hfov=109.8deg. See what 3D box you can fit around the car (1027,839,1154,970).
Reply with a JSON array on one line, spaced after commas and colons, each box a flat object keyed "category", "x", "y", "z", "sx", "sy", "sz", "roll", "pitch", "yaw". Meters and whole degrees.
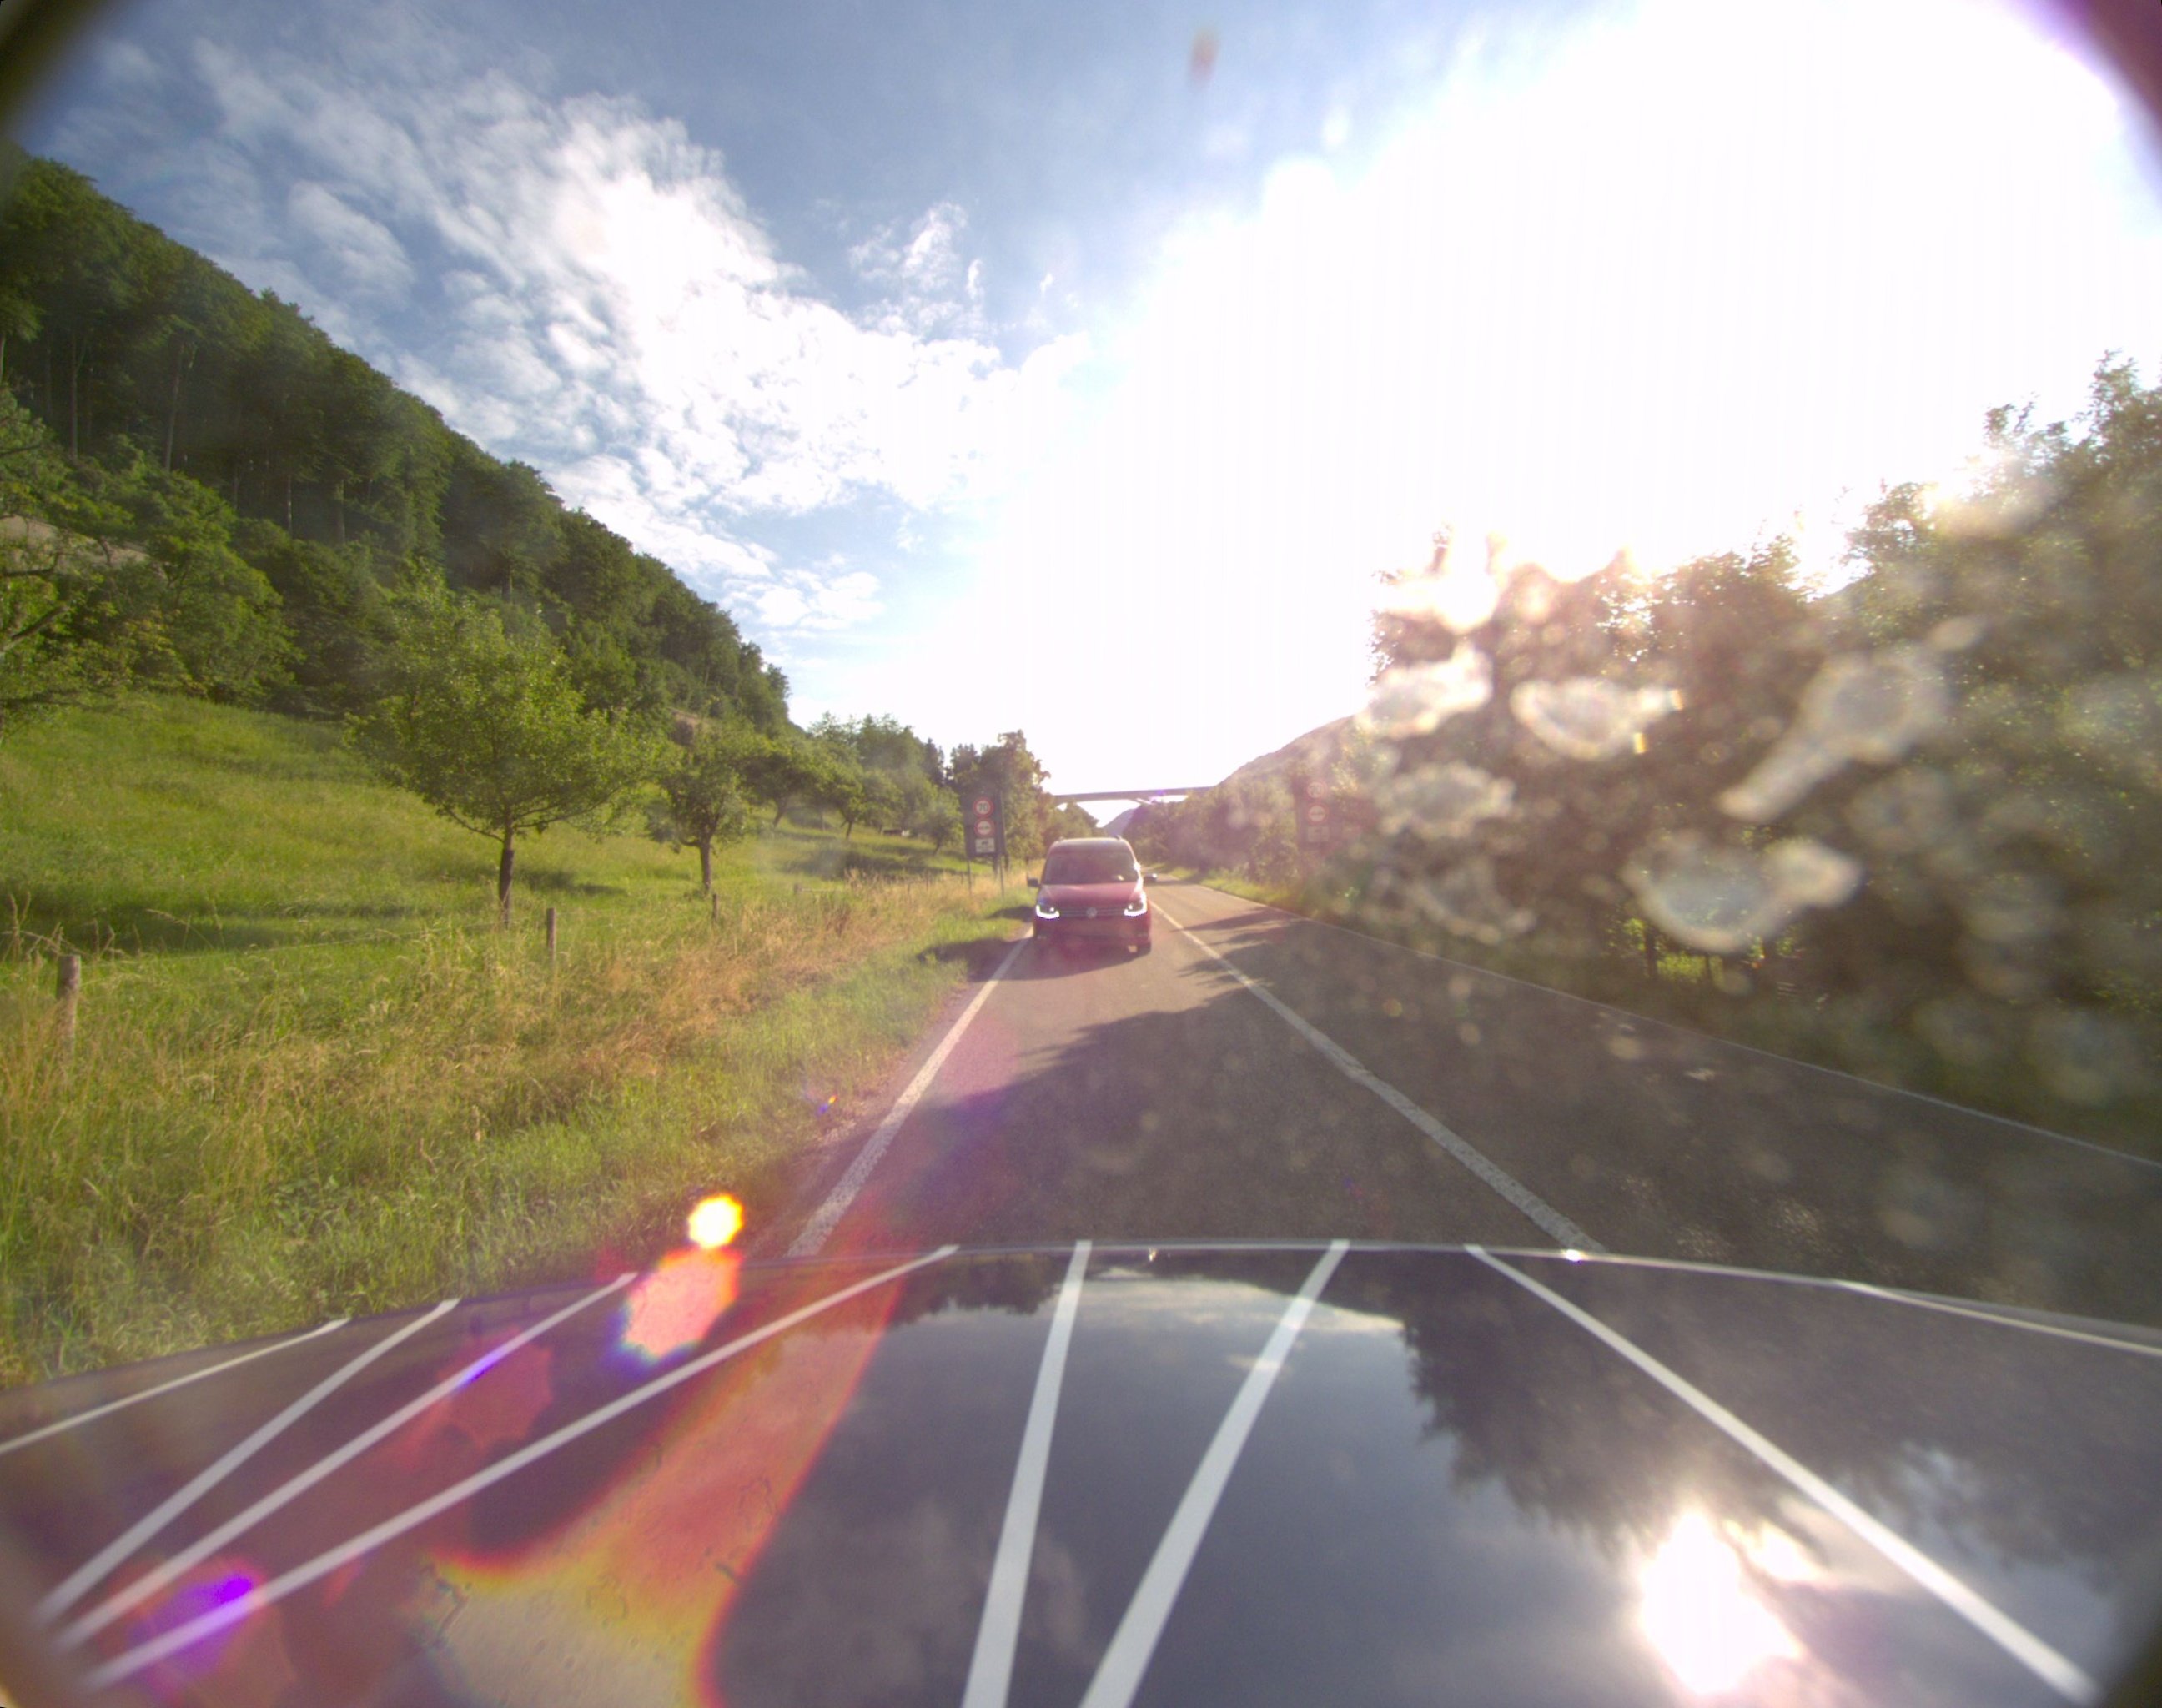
[{"category": "car", "x": 0.149, "y": 0.709, "z": 12.623, "sx": 1.741, "sy": 1.803, "sz": 4.000, "roll": -1, "pitch": 0, "yaw": 0}]
